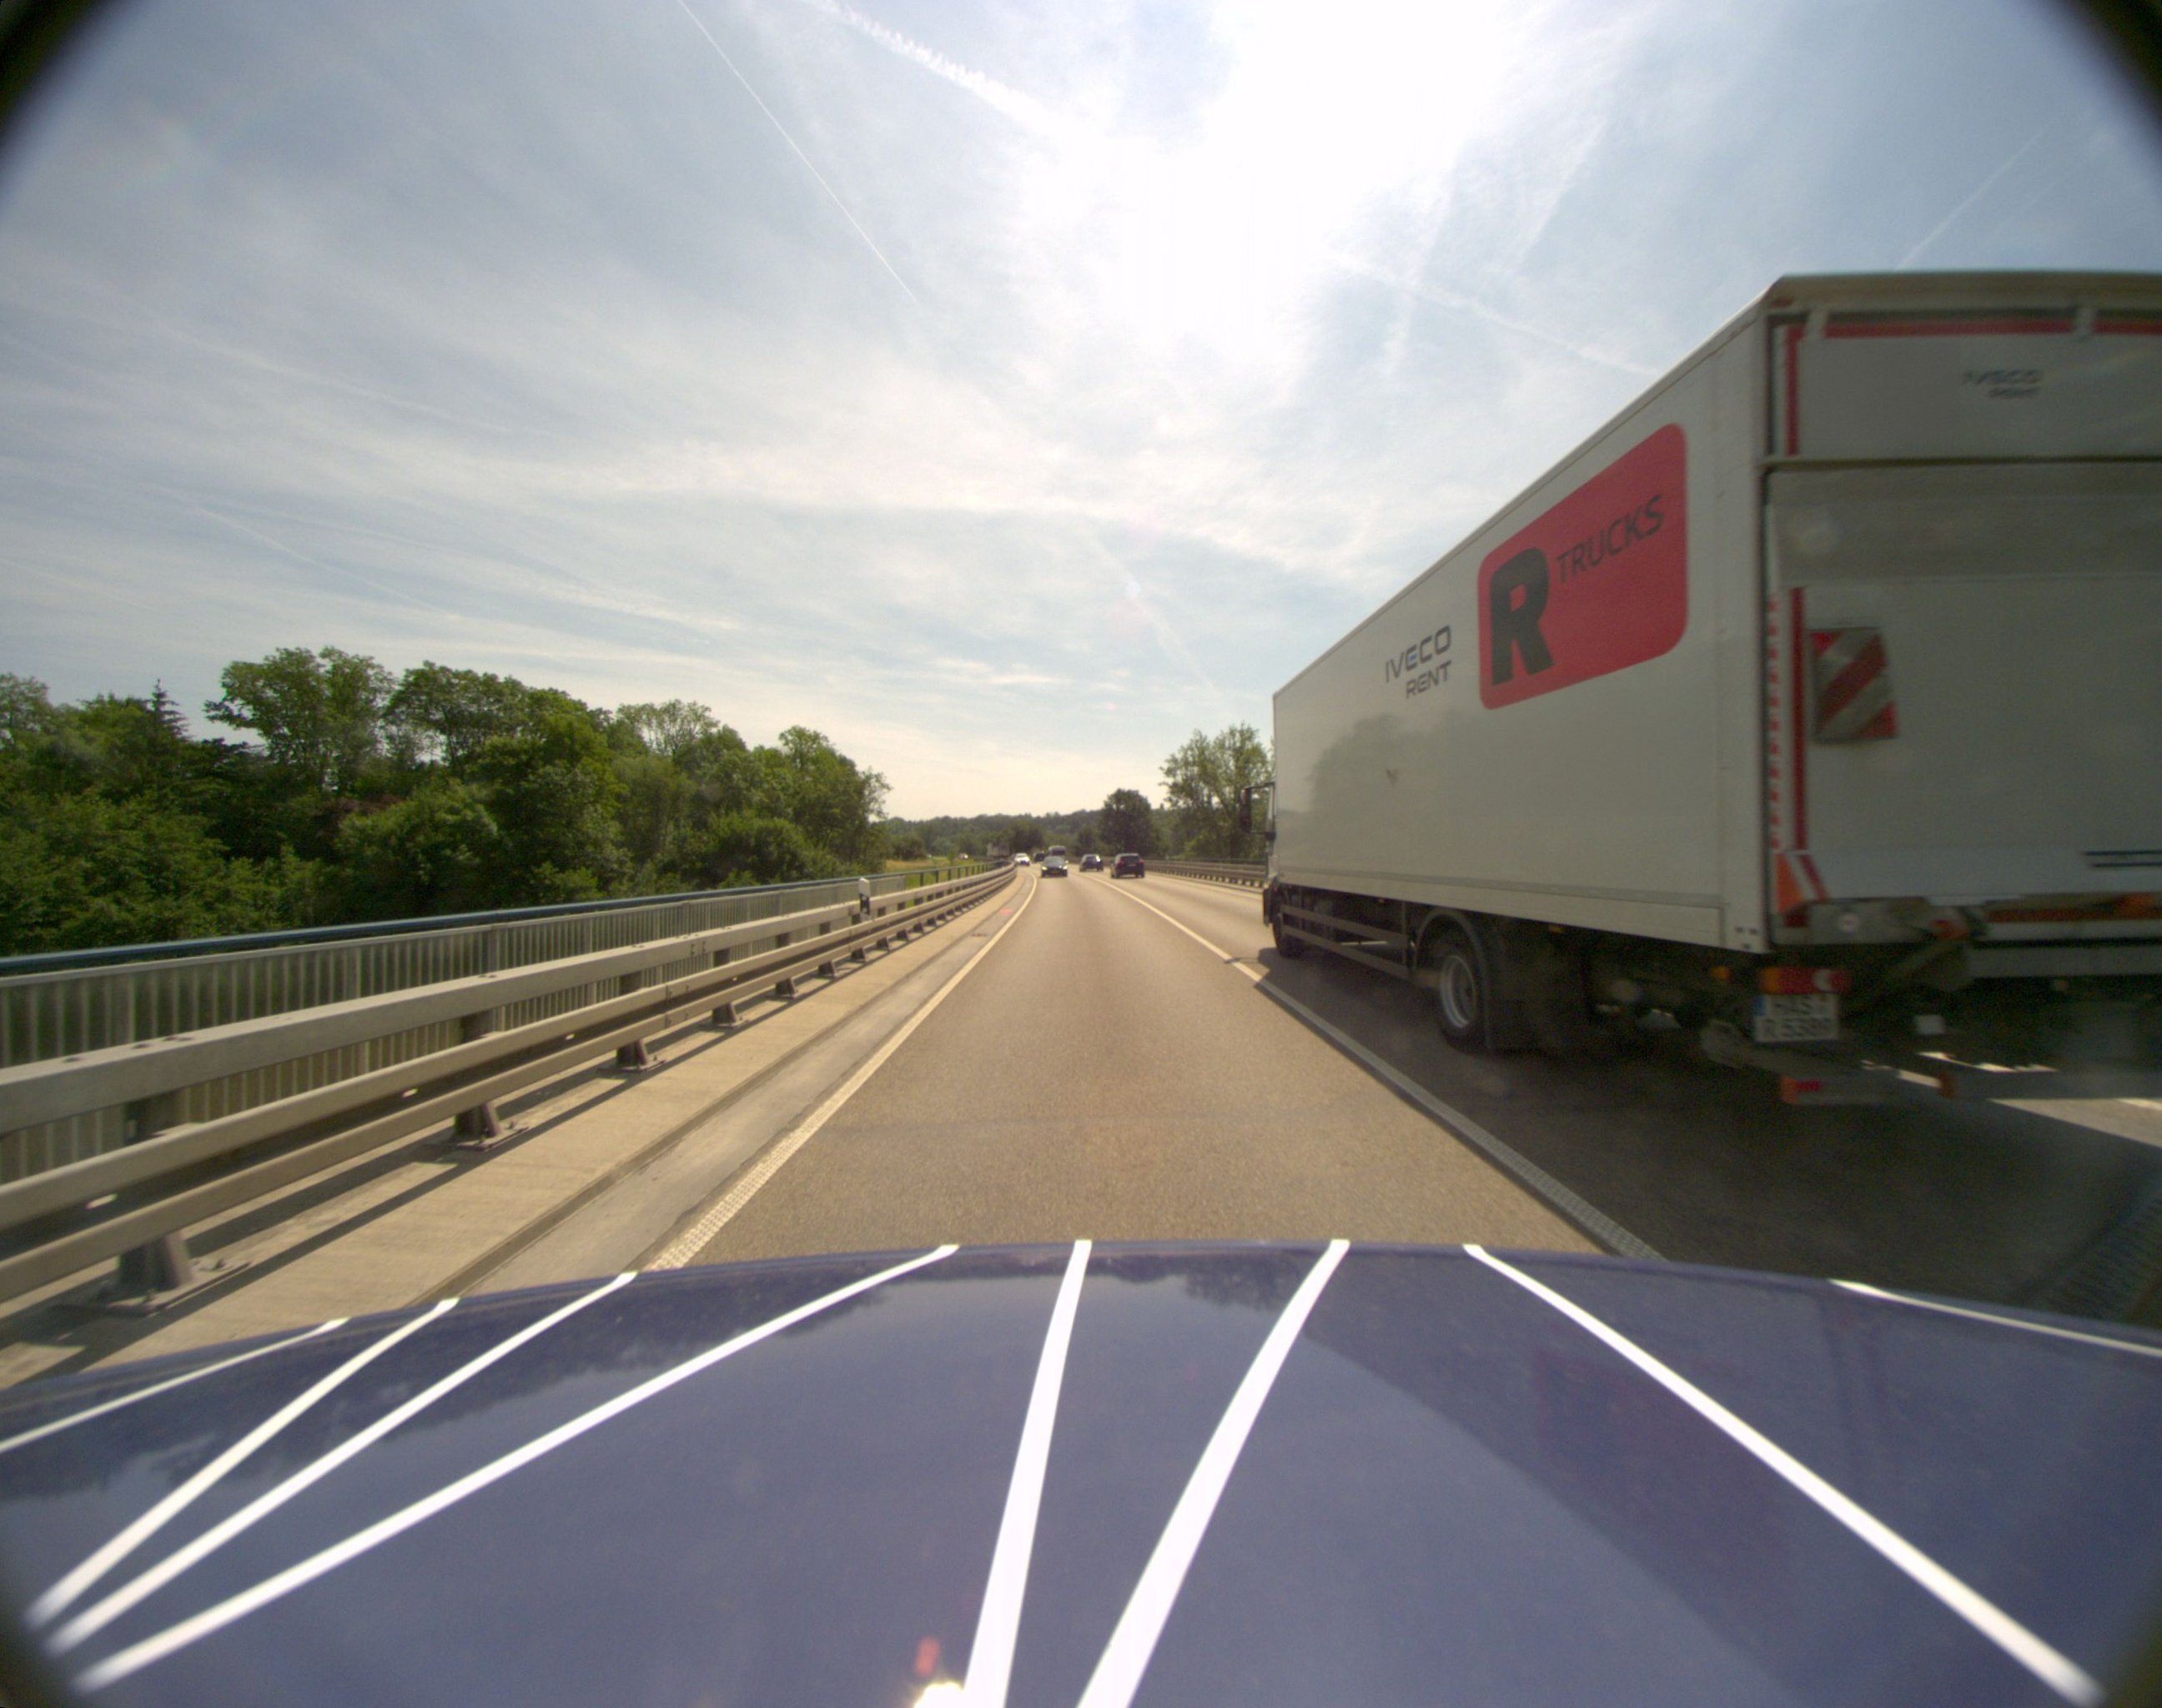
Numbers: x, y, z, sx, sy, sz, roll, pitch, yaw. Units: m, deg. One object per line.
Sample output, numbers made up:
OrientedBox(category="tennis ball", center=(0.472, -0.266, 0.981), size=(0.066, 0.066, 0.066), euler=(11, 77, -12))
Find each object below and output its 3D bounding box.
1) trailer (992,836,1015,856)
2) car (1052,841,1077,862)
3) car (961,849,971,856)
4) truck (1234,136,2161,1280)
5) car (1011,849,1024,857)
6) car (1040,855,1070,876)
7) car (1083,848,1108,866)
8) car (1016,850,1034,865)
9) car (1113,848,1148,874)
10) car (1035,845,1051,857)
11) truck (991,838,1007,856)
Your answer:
OrientedBox(category="trailer", center=(-17.461, -1.607, 169.647), size=(2.864, 4.163, 14.479), euler=(-2, 0, -14))
OrientedBox(category="car", center=(-2.108, -0.360, 95.493), size=(2.186, 2.545, 5.790), euler=(-2, 1, -10))
OrientedBox(category="car", center=(-29.720, -0.451, 196.639), size=(1.983, 1.722, 3.995), euler=(-1, -2, -17))
OrientedBox(category="truck", center=(3.968, -0.529, 7.397), size=(2.922, 3.781, 9.707), euler=(-2, 1, 0))
OrientedBox(category="car", center=(-12.388, -0.239, 148.586), size=(1.668, 1.449, 3.888), euler=(-1, 0, -18))
OrientedBox(category="car", center=(-1.799, 0.789, 53.552), size=(1.980, 1.333, 4.000), euler=(-2, 0, -1))
OrientedBox(category="car", center=(1.225, 0.259, 66.436), size=(1.726, 1.427, 4.615), euler=(-2, 1, -4))
OrientedBox(category="car", center=(-7.435, 0.417, 100.308), size=(1.981, 1.779, 3.996), euler=(-2, 1, -8))
OrientedBox(category="car", center=(3.014, 0.384, 47.232), size=(1.725, 1.474, 4.568), euler=(-2, 1, -2))
OrientedBox(category="car", center=(-6.024, -0.544, 120.115), size=(1.859, 1.788, 4.971), euler=(-3, 1, -11))
OrientedBox(category="truck", center=(-19.016, -1.634, 176.047), size=(2.856, 4.136, 6.323), euler=(-3, 1, -13))
